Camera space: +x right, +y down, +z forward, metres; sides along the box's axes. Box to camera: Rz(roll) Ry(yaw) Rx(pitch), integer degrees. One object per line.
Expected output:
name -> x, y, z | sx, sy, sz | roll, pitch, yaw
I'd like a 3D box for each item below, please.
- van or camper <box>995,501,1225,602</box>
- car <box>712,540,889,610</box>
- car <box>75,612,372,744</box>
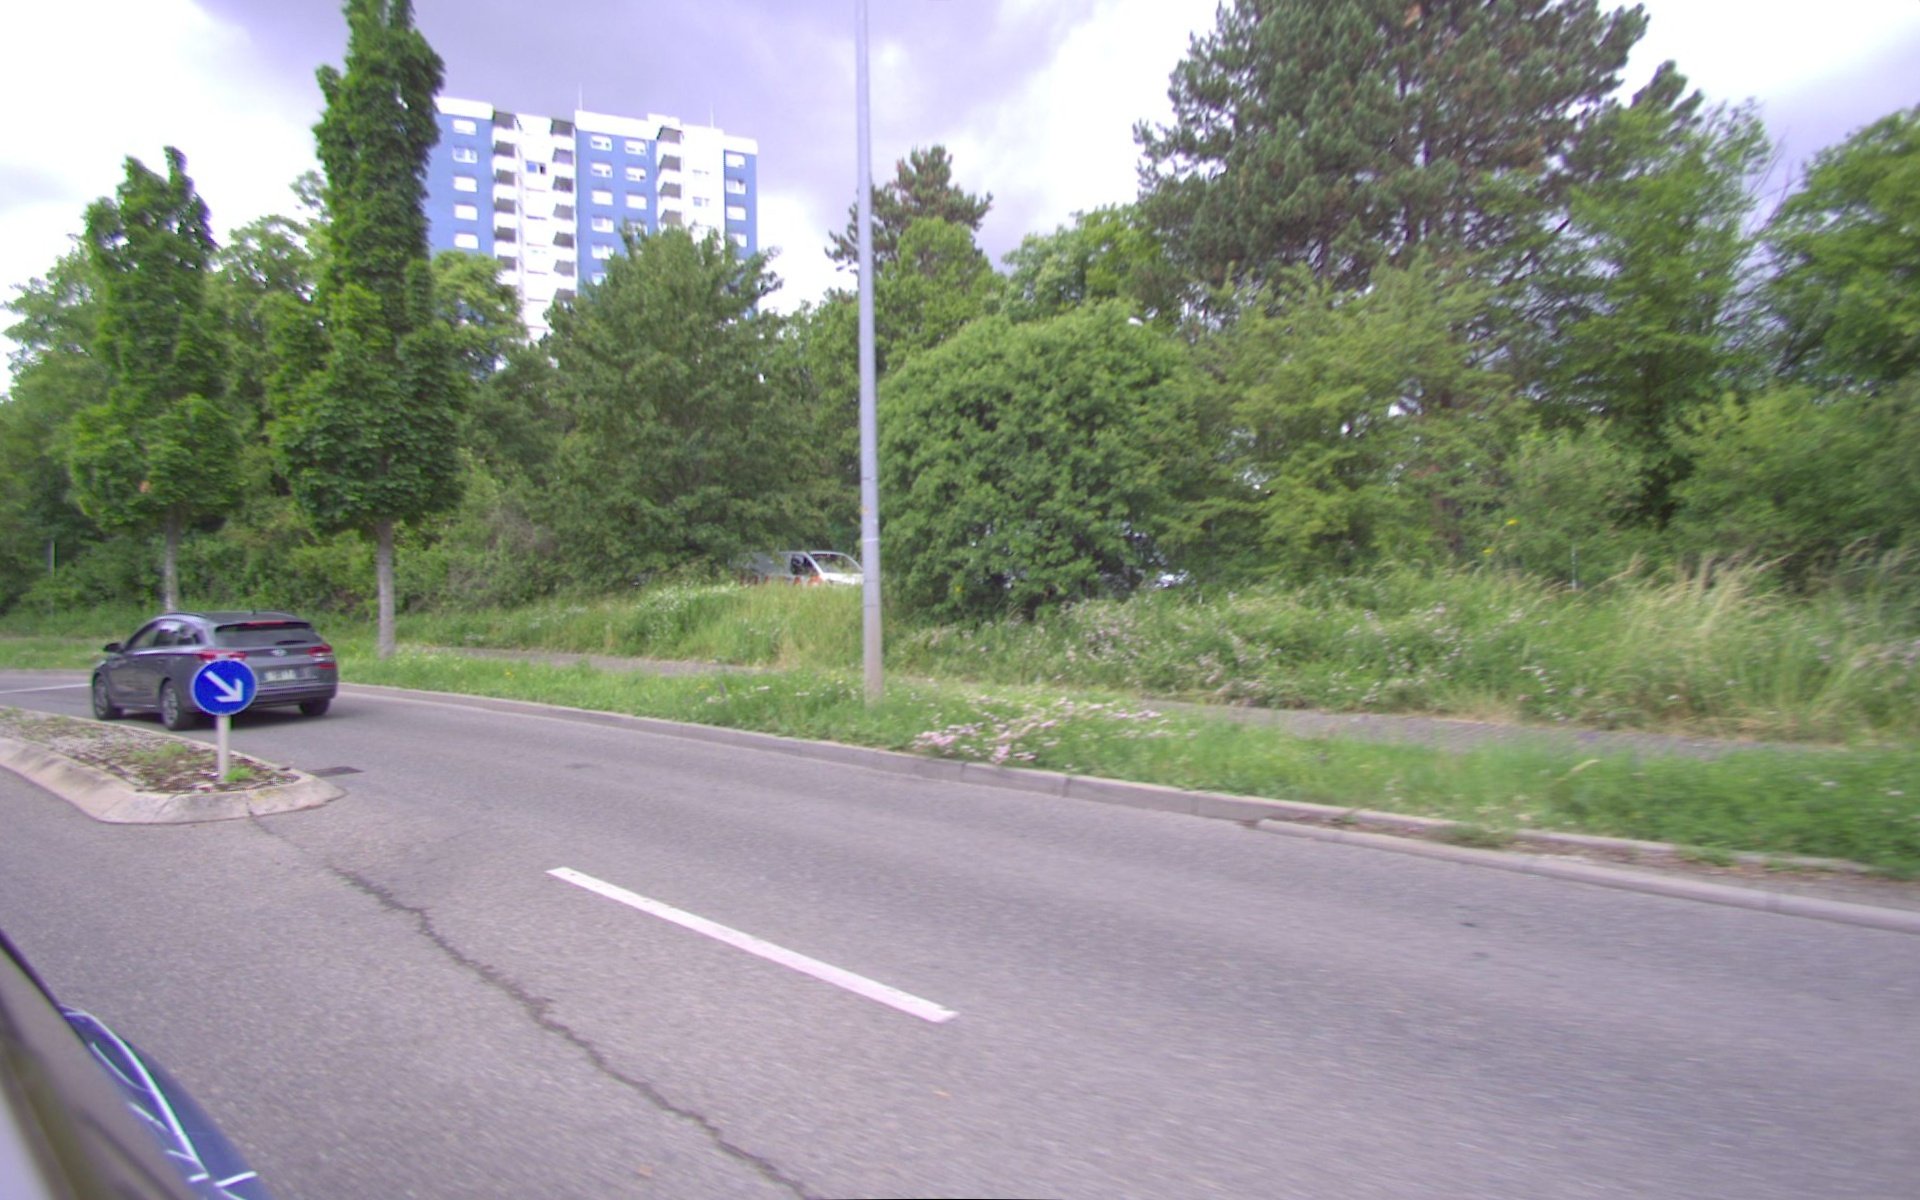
van or camper -> 3.203, -0.956, 22.145 | 4.627, 1.891, 1.973 | -2, -1, 41
car -> -4.664, -0.652, 29.062 | 5.320, 1.738, 2.116 | -2, -1, 41
car -> -10.139, 0.955, 13.834 | 4.416, 1.449, 1.976 | -1, 1, 36
